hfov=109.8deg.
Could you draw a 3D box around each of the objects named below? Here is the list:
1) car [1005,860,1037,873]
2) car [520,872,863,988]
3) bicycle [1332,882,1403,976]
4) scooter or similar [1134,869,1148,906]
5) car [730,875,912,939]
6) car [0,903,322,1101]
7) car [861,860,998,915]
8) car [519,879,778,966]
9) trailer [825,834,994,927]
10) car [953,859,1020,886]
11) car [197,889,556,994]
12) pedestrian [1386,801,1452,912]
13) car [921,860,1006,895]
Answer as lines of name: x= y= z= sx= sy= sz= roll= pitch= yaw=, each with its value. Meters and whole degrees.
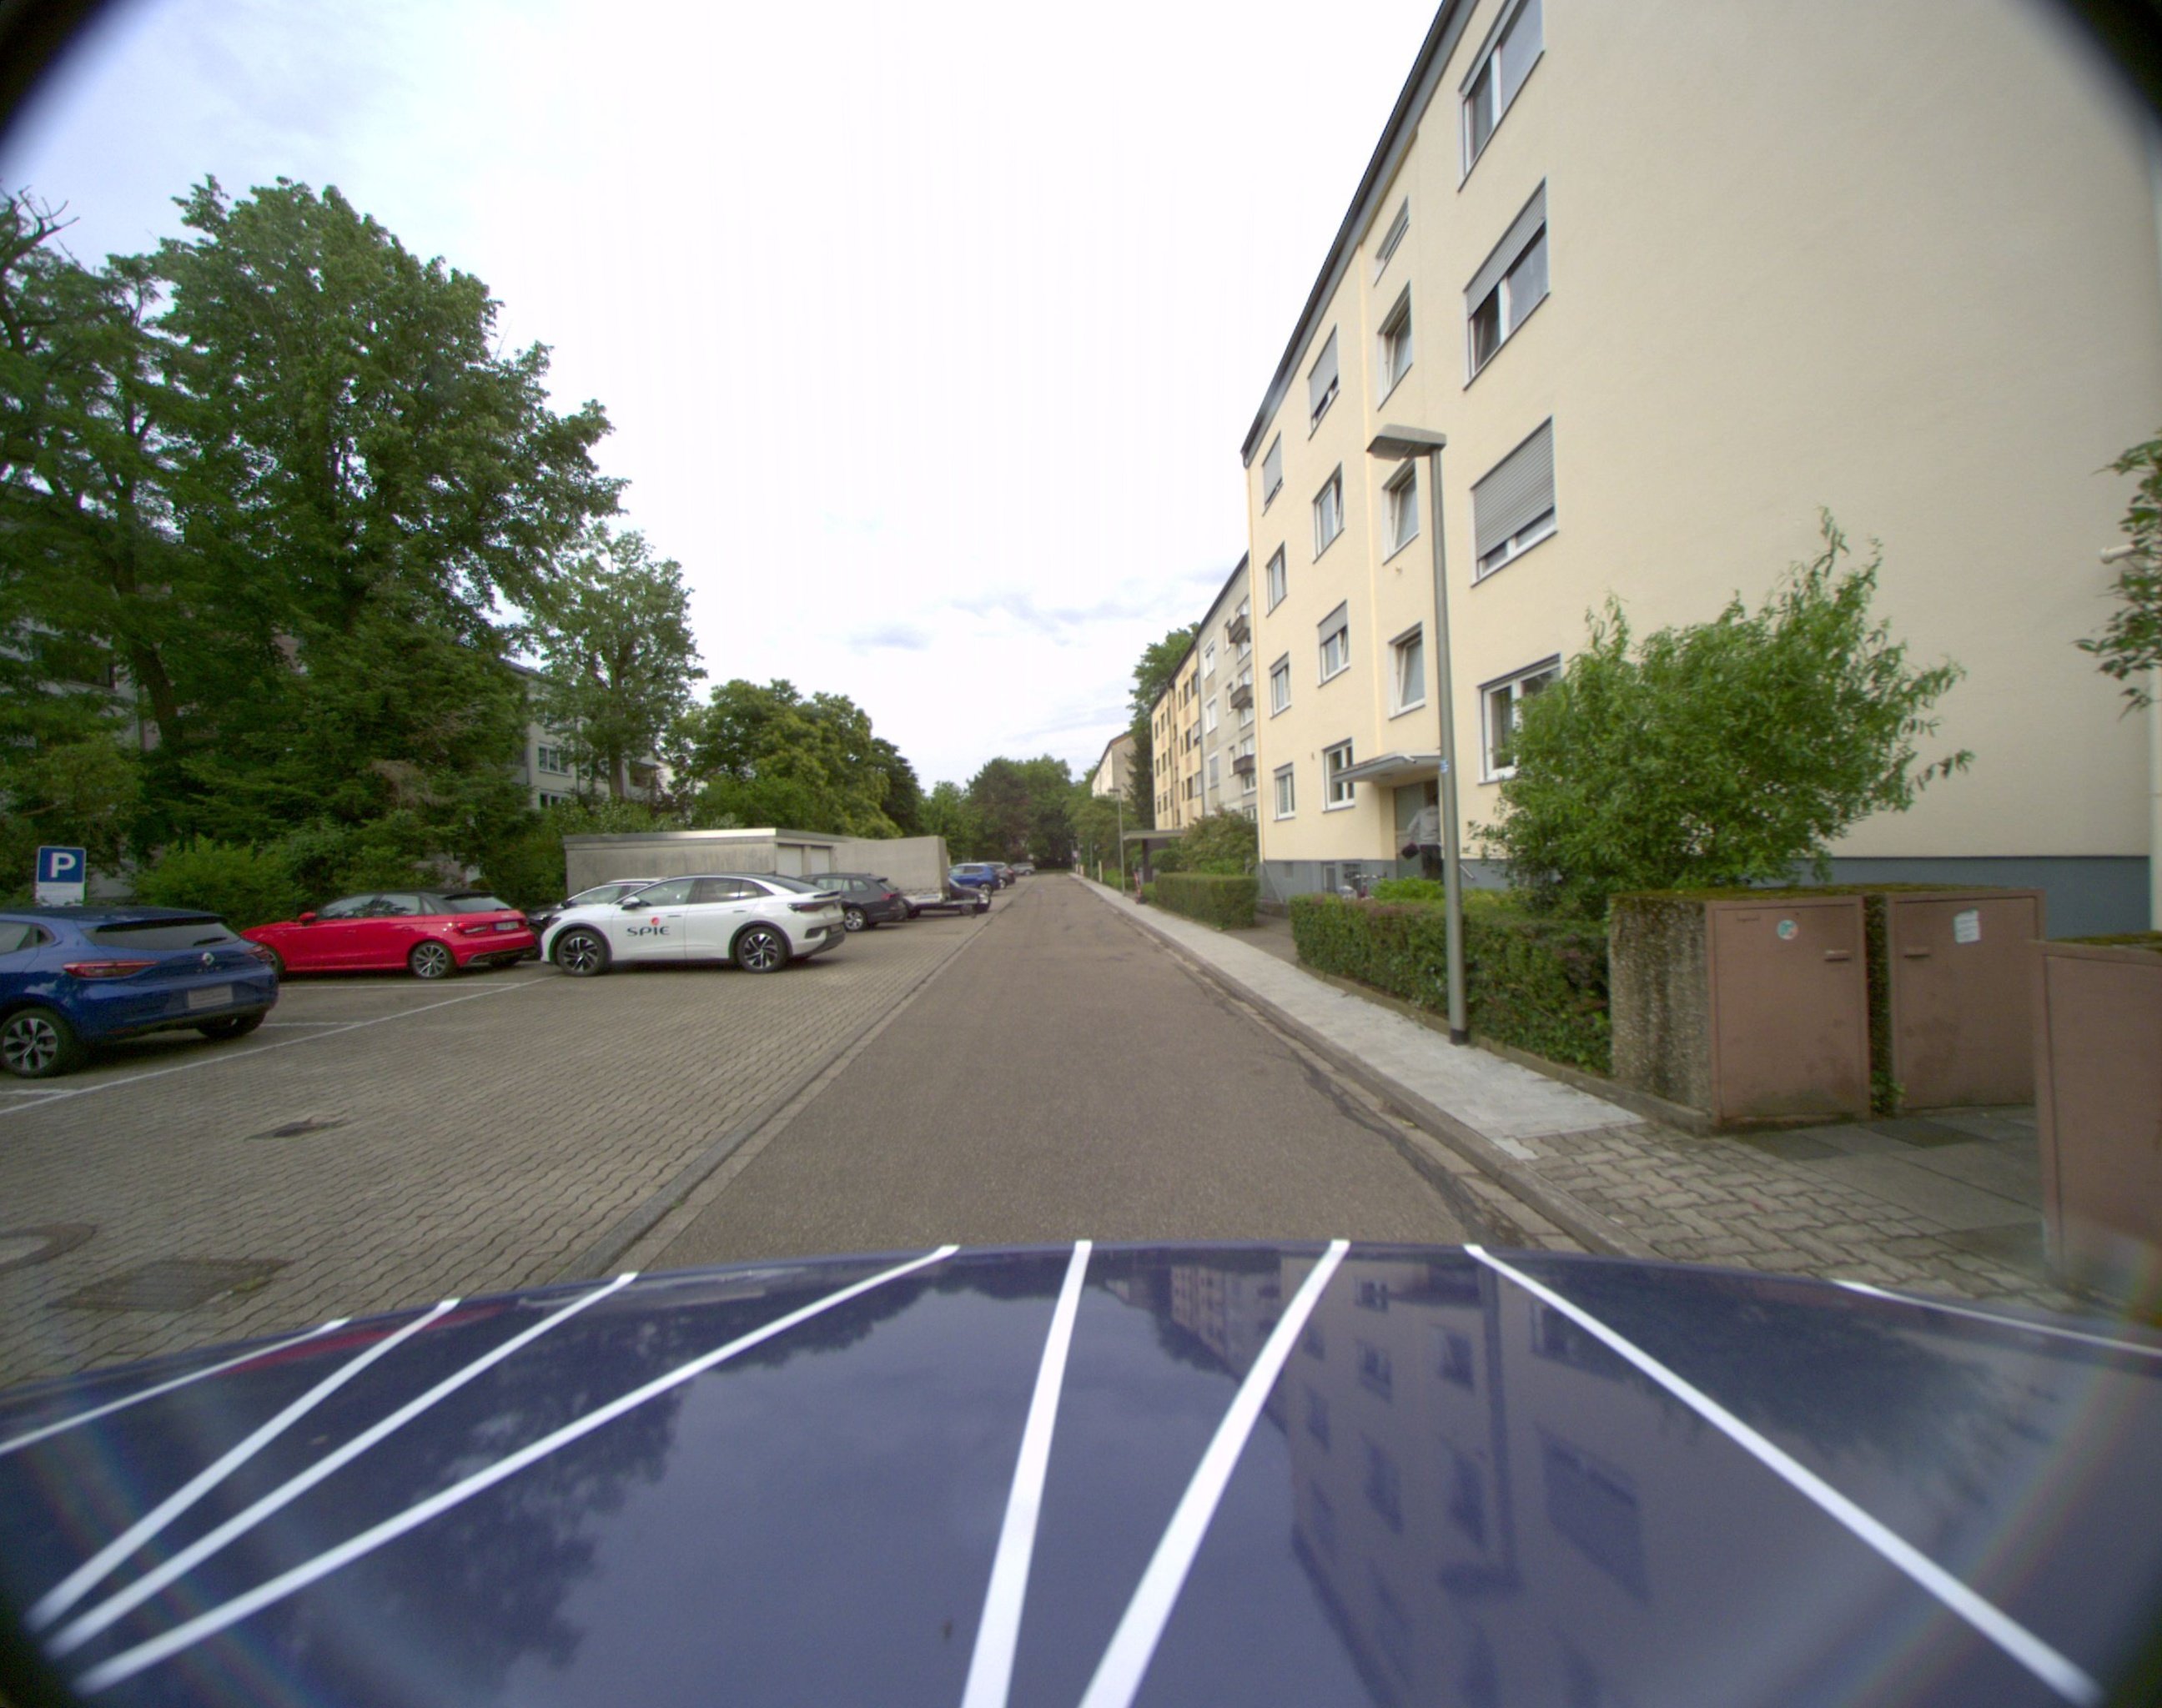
car: x=-7.957 y=1.641 z=100.506 sx=4.105 sy=1.636 sz=1.787 roll=-1 pitch=0 yaw=-3
car: x=-6.158 y=1.172 z=12.467 sx=4.549 sy=1.579 sz=1.988 roll=-2 pitch=0 yaw=0
bicycle: x=3.703 y=0.939 z=9.916 sx=0.319 sy=1.069 sz=1.418 roll=-3 pitch=0 yaw=-2
scooter or similar: x=2.008 y=1.118 z=25.597 sx=0.273 sy=1.203 sz=1.164 roll=-2 pitch=0 yaw=-3
car: x=-6.642 y=1.333 z=19.728 sx=4.139 sy=1.440 sz=1.612 roll=-2 pitch=0 yaw=-2
car: x=-10.234 y=1.335 z=7.210 sx=3.908 sy=1.501 sz=2.027 roll=-2 pitch=0 yaw=-2
car: x=-5.094 y=1.113 z=26.034 sx=4.322 sy=1.791 sz=2.000 roll=0 pitch=0 yaw=-3
car: x=-8.368 y=1.291 z=15.082 sx=3.999 sy=1.543 sz=1.999 roll=0 pitch=0 yaw=-7
trailer: x=-5.112 y=0.780 z=23.145 sx=4.622 sy=2.510 sz=1.942 roll=-2 pitch=0 yaw=-2
car: x=-6.099 y=1.204 z=49.474 sx=4.207 sy=1.717 sz=2.000 roll=0 pitch=0 yaw=-3
car: x=-11.246 y=1.356 z=12.394 sx=3.908 sy=1.372 sz=1.971 roll=-2 pitch=0 yaw=-2
pedestrian: x=5.531 y=0.044 z=12.461 sx=0.680 sy=1.739 sz=0.756 roll=-3 pitch=0 yaw=2
car: x=-5.801 y=1.168 z=37.922 sx=3.998 sy=1.693 sz=2.000 roll=0 pitch=0 yaw=-3
